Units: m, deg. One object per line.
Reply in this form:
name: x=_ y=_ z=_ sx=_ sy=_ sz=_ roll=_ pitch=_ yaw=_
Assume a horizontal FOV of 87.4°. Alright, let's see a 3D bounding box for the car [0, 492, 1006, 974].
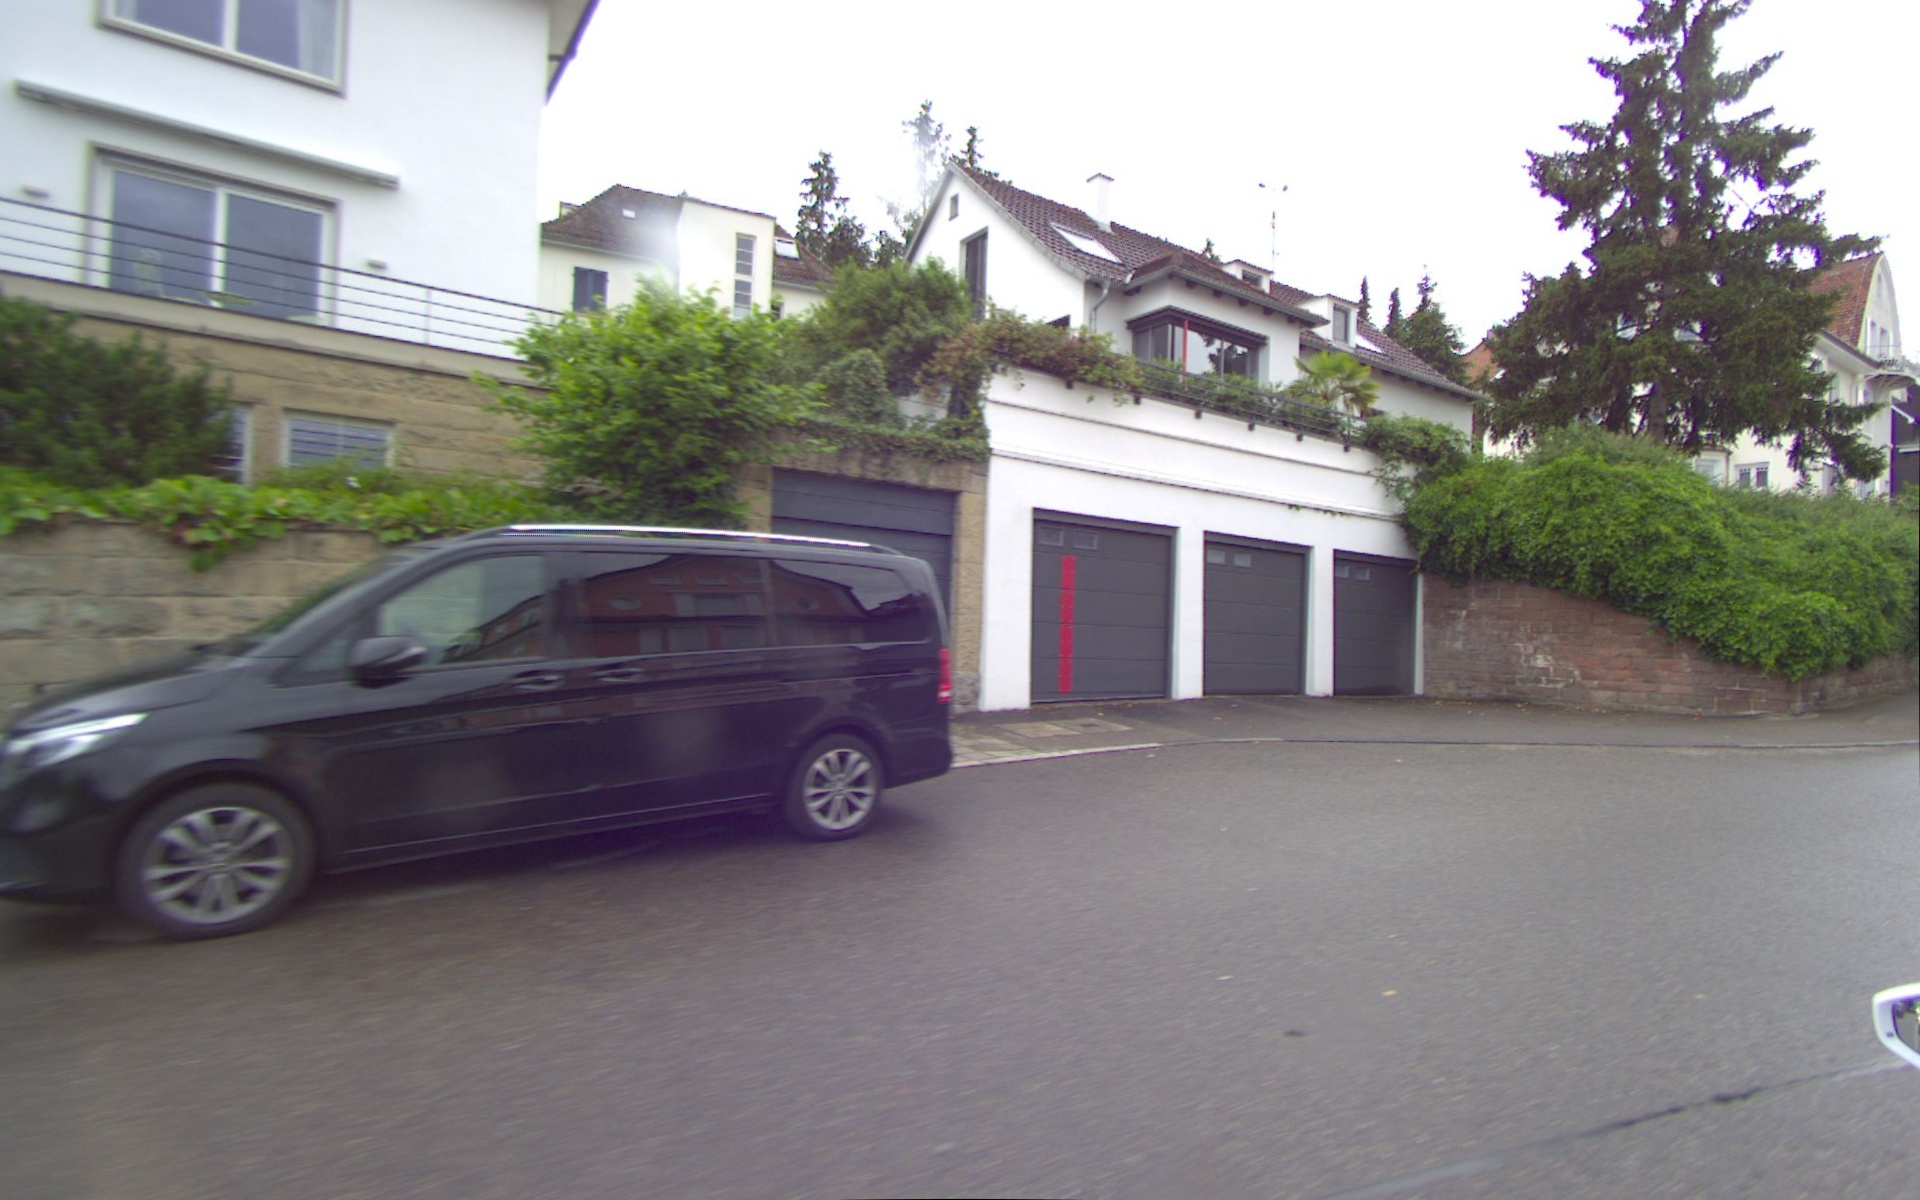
car: x=-2.520 y=0.532 z=6.183 sx=5.542 sy=1.885 sz=2.113 roll=1 pitch=0 yaw=-37
